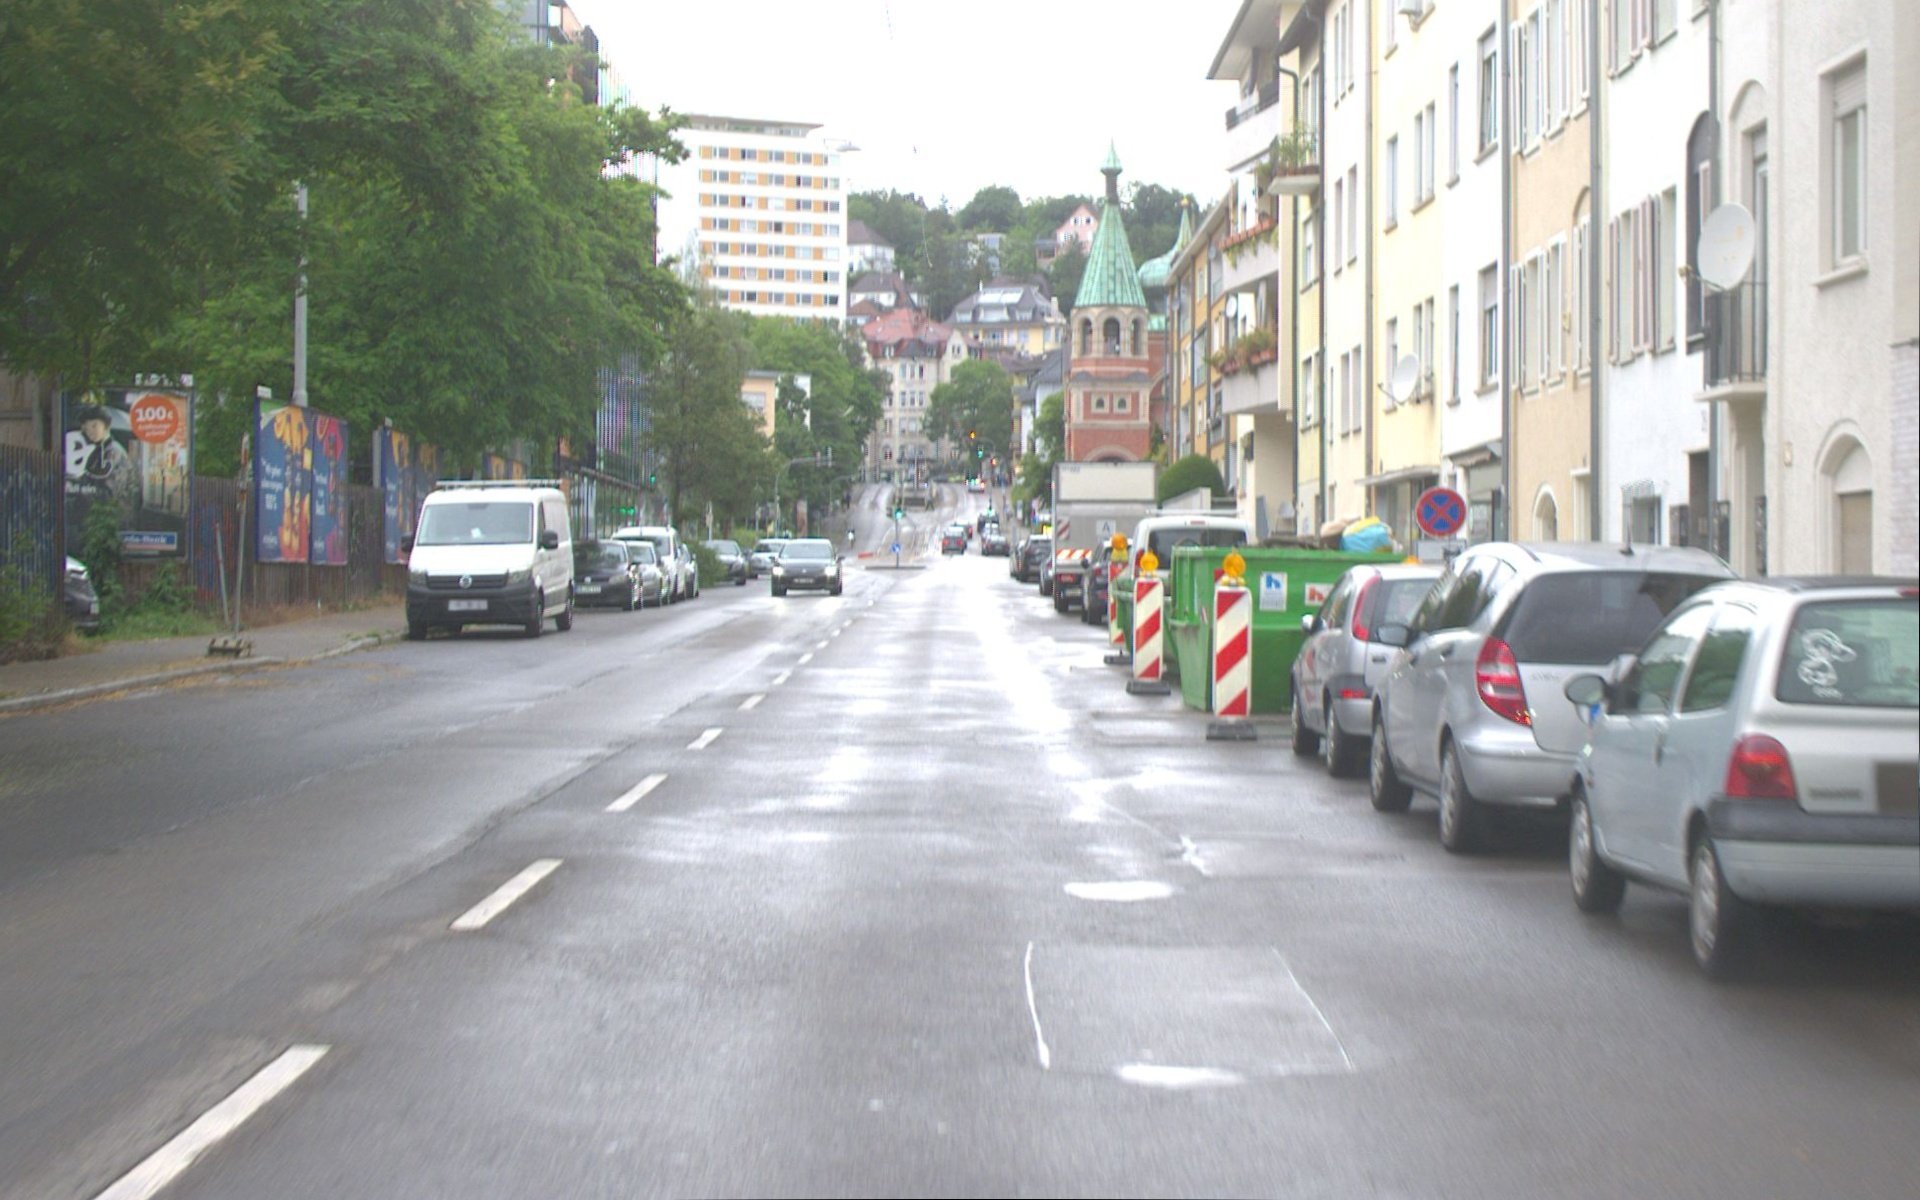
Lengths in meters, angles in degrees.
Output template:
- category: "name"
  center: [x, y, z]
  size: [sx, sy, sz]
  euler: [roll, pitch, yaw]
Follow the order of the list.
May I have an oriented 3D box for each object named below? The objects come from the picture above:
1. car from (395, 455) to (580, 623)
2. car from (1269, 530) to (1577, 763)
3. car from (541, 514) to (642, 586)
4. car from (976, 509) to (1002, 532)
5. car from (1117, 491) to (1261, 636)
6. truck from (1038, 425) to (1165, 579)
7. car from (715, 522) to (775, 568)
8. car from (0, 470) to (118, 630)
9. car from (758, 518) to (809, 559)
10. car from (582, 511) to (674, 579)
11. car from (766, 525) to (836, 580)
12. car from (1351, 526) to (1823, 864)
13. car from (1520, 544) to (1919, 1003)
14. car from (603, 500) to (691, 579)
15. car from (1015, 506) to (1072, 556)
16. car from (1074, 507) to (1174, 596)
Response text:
- category: "car"
  center: [-7.366, -1.005, 54.223]
  size: [2.012, 2.478, 5.984]
  euler: [-1, 2, 1]
- category: "car"
  center: [3.183, 0.264, 24.300]
  size: [1.626, 1.406, 3.842]
  euler: [2, 2, 0]
- category: "car"
  center: [-7.417, -1.022, 69.480]
  size: [1.682, 1.394, 3.911]
  euler: [-1, 1, -1]
- category: "car"
  center: [2.138, -5.883, 254.658]
  size: [1.732, 1.648, 4.000]
  euler: [-1, 1, 3]
- category: "car"
  center: [3.149, -0.554, 47.987]
  size: [1.817, 1.917, 4.239]
  euler: [1, 2, 2]
- category: "truck"
  center: [2.983, -2.097, 74.212]
  size: [2.469, 3.161, 7.036]
  euler: [0, 1, 0]
- category: "car"
  center: [-6.891, -1.784, 110.495]
  size: [1.803, 1.445, 4.659]
  euler: [0, 1, -2]
- category: "car"
  center: [-13.857, -0.638, 44.302]
  size: [5.499, 2.002, 2.147]
  euler: [-1, 2, -2]
- category: "car"
  center: [-6.426, -2.233, 125.264]
  size: [1.709, 1.445, 4.295]
  euler: [0, 1, -1]
- category: "car"
  center: [-7.320, -1.231, 76.111]
  size: [1.682, 1.457, 4.277]
  euler: [-1, 1, -1]
- category: "car"
  center: [-4.219, -1.288, 91.541]
  size: [1.805, 1.411, 4.384]
  euler: [0, 1, -2]
- category: "car"
  center: [3.257, 0.418, 18.606]
  size: [1.716, 1.519, 4.001]
  euler: [2, 2, -1]
- category: "car"
  center: [3.326, 0.569, 13.439]
  size: [1.558, 1.449, 3.760]
  euler: [2, 2, -1]
- category: "car"
  center: [-7.356, -1.428, 81.196]
  size: [1.723, 1.794, 4.344]
  euler: [-1, 1, -1]
- category: "car"
  center: [2.901, -2.435, 119.894]
  size: [1.817, 1.647, 4.076]
  euler: [2, 2, 0]
- category: "car"
  center: [3.033, -0.933, 64.211]
  size: [1.663, 1.568, 4.098]
  euler: [0, 2, 0]
